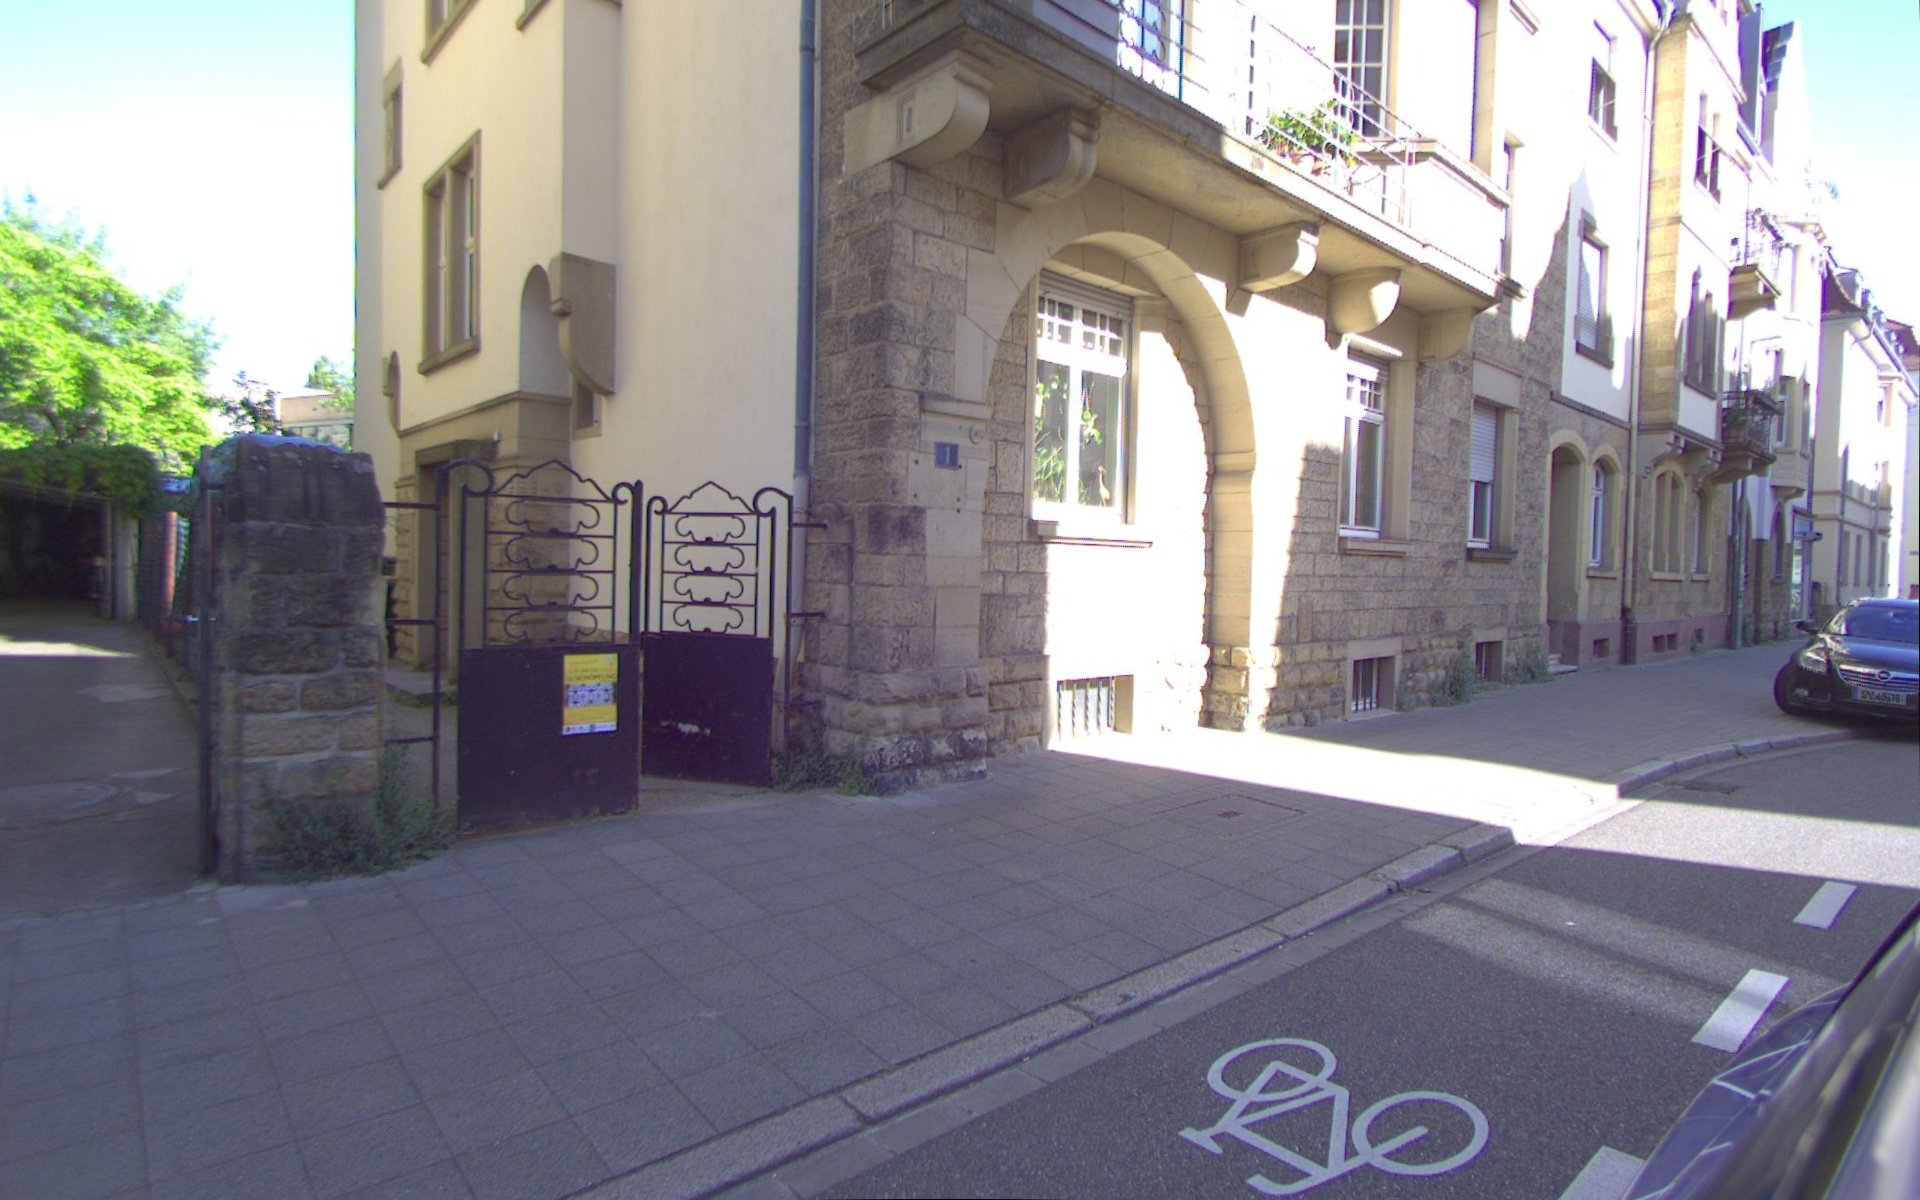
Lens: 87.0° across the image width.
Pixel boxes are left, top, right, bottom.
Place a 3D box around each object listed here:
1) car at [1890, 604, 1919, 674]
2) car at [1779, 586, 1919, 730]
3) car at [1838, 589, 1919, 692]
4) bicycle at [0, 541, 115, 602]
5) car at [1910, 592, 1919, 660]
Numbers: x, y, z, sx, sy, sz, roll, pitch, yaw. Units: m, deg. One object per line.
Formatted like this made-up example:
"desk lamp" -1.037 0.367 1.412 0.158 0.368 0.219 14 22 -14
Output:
"car" 19.336 0.731 19.617 3.876 1.270 1.694 0 1 -44
"car" 11.557 0.609 12.276 4.265 1.480 1.869 0 3 -42
"car" 15.499 0.604 16.225 4.186 1.460 1.654 0 3 -43
"bicycle" -18.366 -0.604 20.452 2.834 1.124 0.865 3 2 25
"car" 22.475 0.576 22.550 1.787 1.447 3.746 3 2 44
